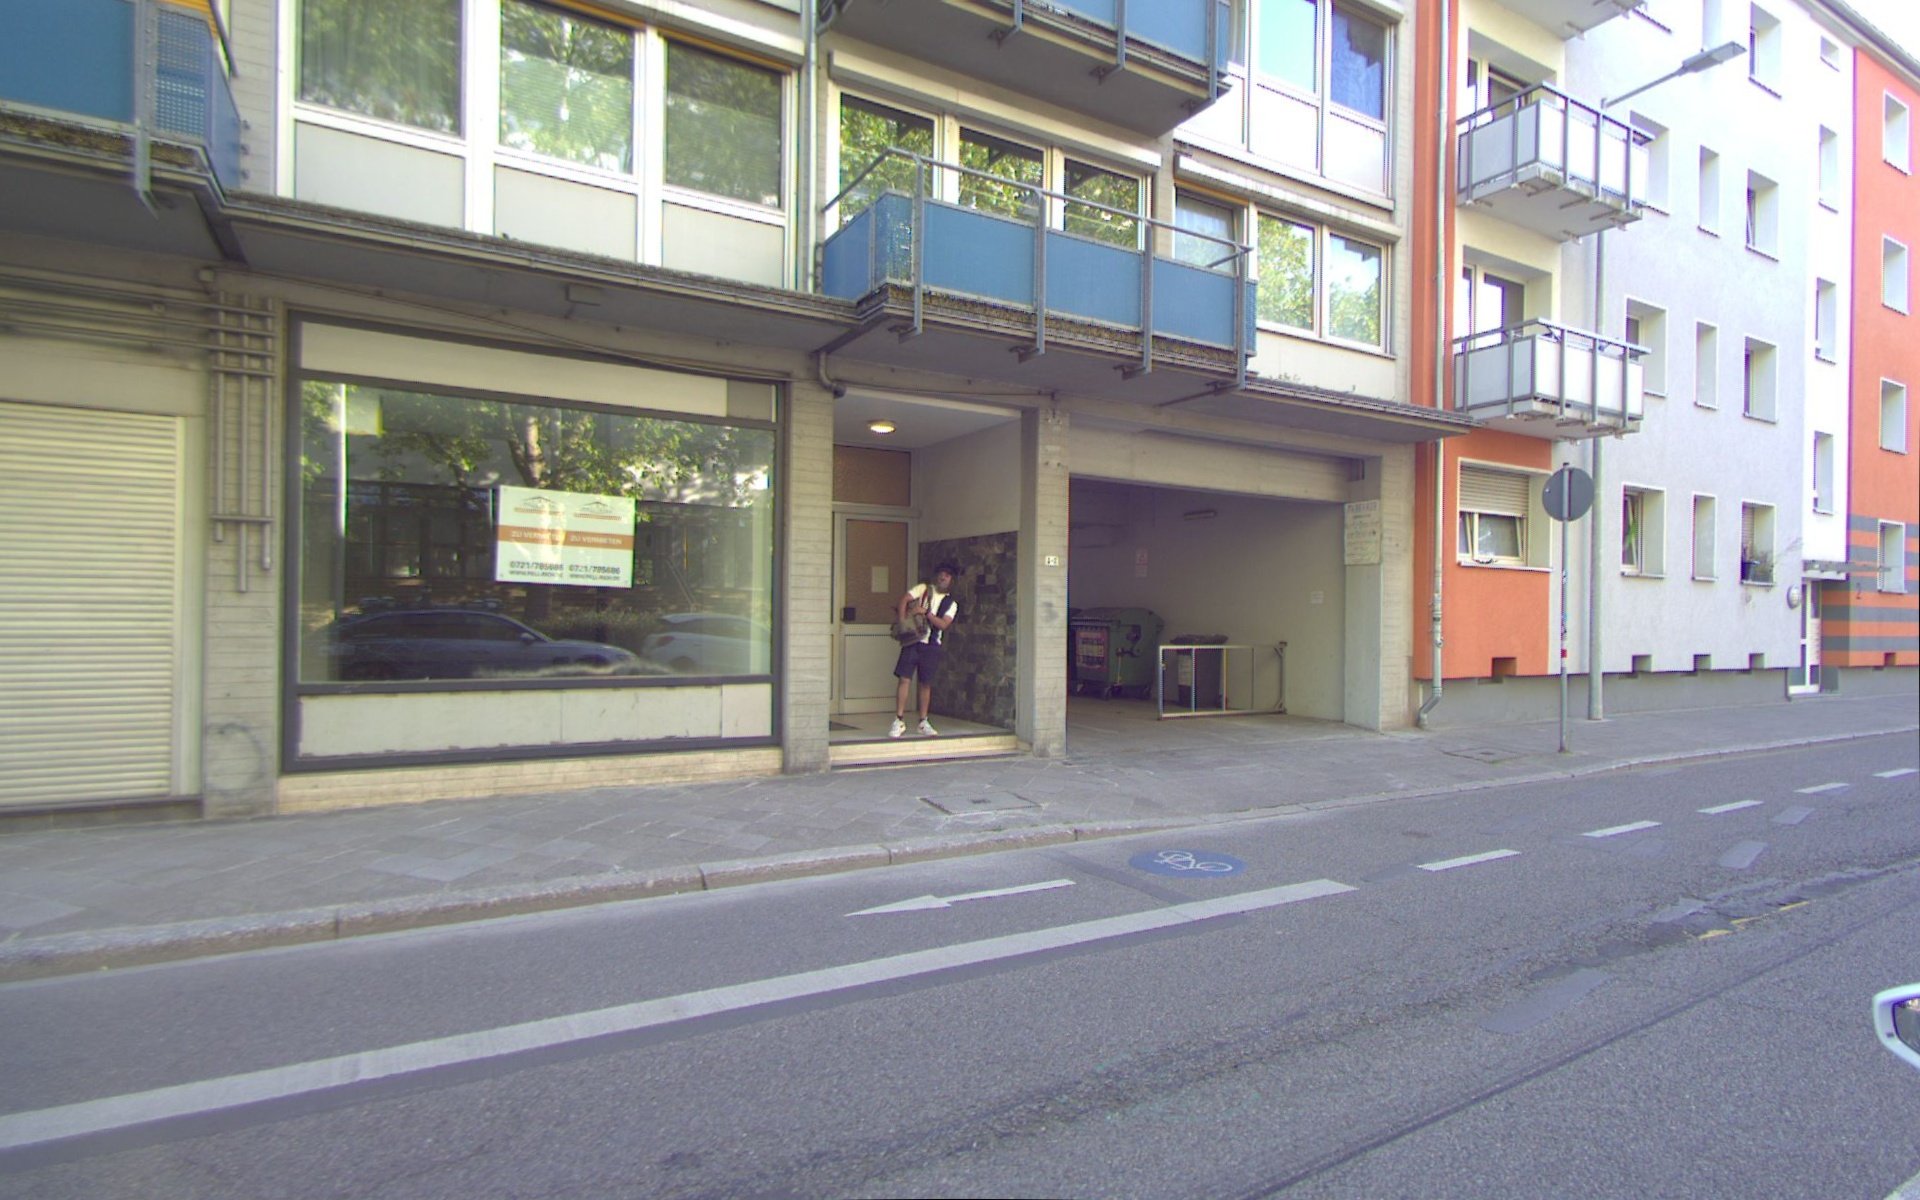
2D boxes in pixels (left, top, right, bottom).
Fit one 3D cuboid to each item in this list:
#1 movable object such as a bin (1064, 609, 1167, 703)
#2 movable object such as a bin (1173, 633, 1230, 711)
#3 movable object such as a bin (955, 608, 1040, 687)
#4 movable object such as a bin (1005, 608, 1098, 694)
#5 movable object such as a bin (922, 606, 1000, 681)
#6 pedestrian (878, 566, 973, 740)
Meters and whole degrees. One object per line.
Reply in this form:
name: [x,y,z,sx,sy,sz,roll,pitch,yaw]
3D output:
movable object such as a bin: [2.488,0.865,16.168,1.067,1.433,1.312,1,-1,-30]
movable object such as a bin: [3.558,1.045,14.803,0.646,1.102,0.487,1,0,-30]
movable object such as a bin: [0.702,0.872,18.978,1.067,1.433,1.312,1,-1,-30]
movable object such as a bin: [1.586,0.858,17.532,1.067,1.433,1.312,1,-1,-30]
movable object such as a bin: [0.007,0.850,20.192,1.067,1.433,1.312,1,-1,-30]
pedestrian: [-0.335,0.491,9.631,0.747,1.600,0.511,1,0,-30]
